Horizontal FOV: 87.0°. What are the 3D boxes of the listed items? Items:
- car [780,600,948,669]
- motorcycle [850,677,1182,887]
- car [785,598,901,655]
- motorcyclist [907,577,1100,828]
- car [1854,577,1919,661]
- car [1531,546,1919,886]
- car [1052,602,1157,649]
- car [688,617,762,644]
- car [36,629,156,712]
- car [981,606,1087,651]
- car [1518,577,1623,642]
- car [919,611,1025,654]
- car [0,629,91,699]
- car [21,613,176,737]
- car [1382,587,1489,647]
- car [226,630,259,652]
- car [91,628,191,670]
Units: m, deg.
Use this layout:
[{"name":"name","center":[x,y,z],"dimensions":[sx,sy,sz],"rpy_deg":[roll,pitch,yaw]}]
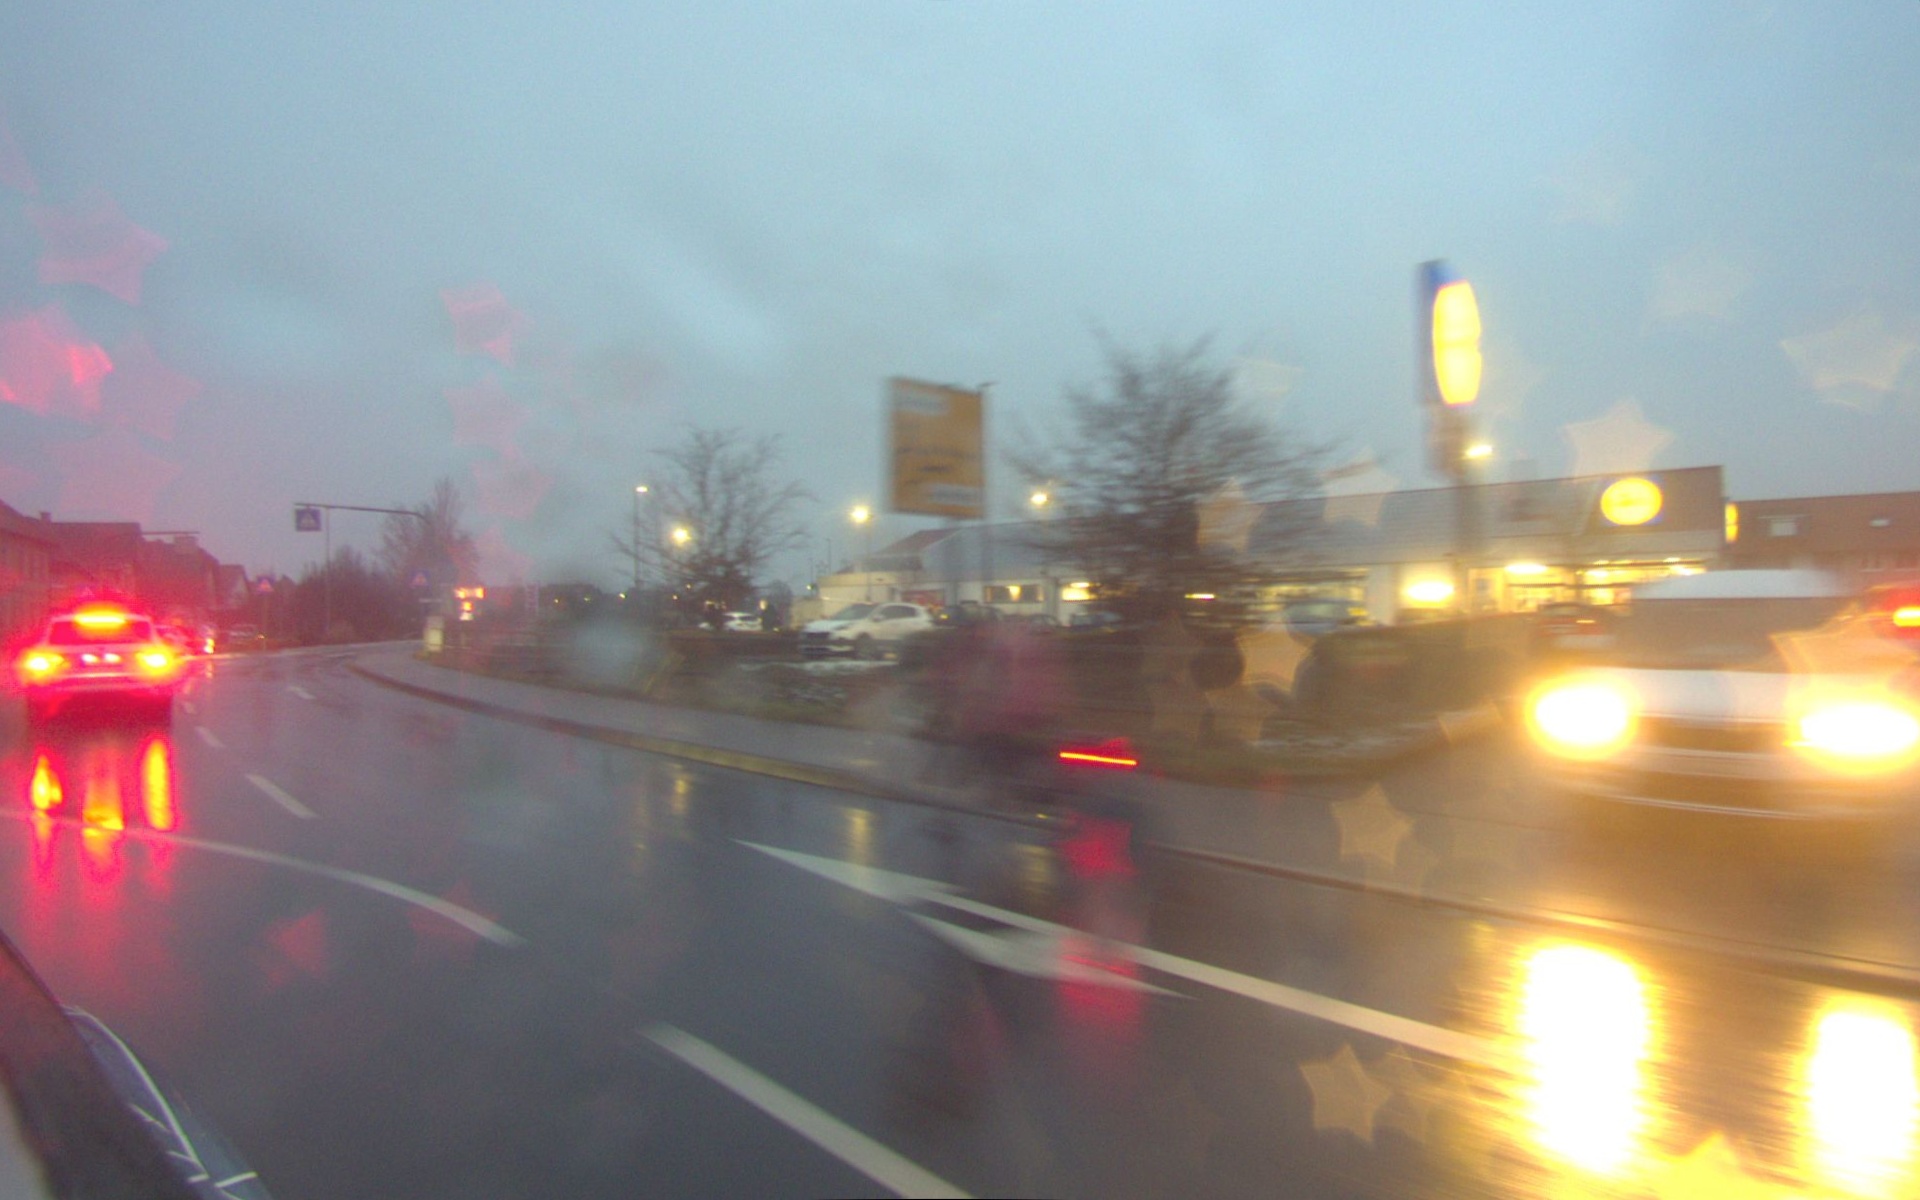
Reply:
[{"name":"car","center":[-2.532,0.909,27.868],"dimensions":[2.028,1.725,4.729],"rpy_deg":[-2,-1,35]},{"name":"motorcycle","center":[0.301,1.086,6.648],"dimensions":[2.110,1.031,0.856],"rpy_deg":[-2,0,44]},{"name":"car","center":[-5.075,1.205,44.538],"dimensions":[2.214,2.300,5.139],"rpy_deg":[-3,-3,35]},{"name":"motorcyclist","center":[0.289,0.612,6.644],"dimensions":[0.908,1.496,0.857],"rpy_deg":[-2,0,40]},{"name":"car","center":[21.028,0.349,21.675],"dimensions":[1.961,1.684,4.375],"rpy_deg":[-3,-2,31]},{"name":"car","center":[5.725,0.542,7.348],"dimensions":[1.899,1.712,4.183],"rpy_deg":[-2,2,41]},{"name":"car","center":[5.402,0.966,37.414],"dimensions":[2.051,1.575,4.391],"rpy_deg":[-3,-3,35]},{"name":"car","center":[-13.848,1.788,59.527],"dimensions":[4.781,1.548,1.666],"rpy_deg":[-1,-1,40]},{"name":"car","center":[-17.899,1.399,21.026],"dimensions":[1.749,1.506,4.048],"rpy_deg":[-1,-1,-40]},{"name":"car","center":[2.903,1.126,38.910],"dimensions":[2.051,1.575,4.391],"rpy_deg":[-3,-3,35]},{"name":"car","center":[16.631,0.316,27.455],"dimensions":[2.051,1.575,4.391],"rpy_deg":[-3,-3,35]},{"name":"car","center":[0.543,1.287,40.156],"dimensions":[2.051,1.575,4.391],"rpy_deg":[-3,-3,35]},{"name":"car","center":[-22.054,1.476,24.068],"dimensions":[1.640,1.497,4.010],"rpy_deg":[-1,-1,-34]},{"name":"car","center":[-14.261,1.147,16.697],"dimensions":[1.750,1.736,4.426],"rpy_deg":[-1,-1,-42]},{"name":"car","center":[14.020,0.540,29.704],"dimensions":[2.051,1.575,4.391],"rpy_deg":[-3,-3,35]},{"name":"car","center":[-62.414,3.579,88.072],"dimensions":[1.916,1.819,4.185],"rpy_deg":[-1,-1,-30]},{"name":"car","center":[-32.828,1.917,40.691],"dimensions":[1.965,1.484,4.013],"rpy_deg":[-2,-1,-21]}]
